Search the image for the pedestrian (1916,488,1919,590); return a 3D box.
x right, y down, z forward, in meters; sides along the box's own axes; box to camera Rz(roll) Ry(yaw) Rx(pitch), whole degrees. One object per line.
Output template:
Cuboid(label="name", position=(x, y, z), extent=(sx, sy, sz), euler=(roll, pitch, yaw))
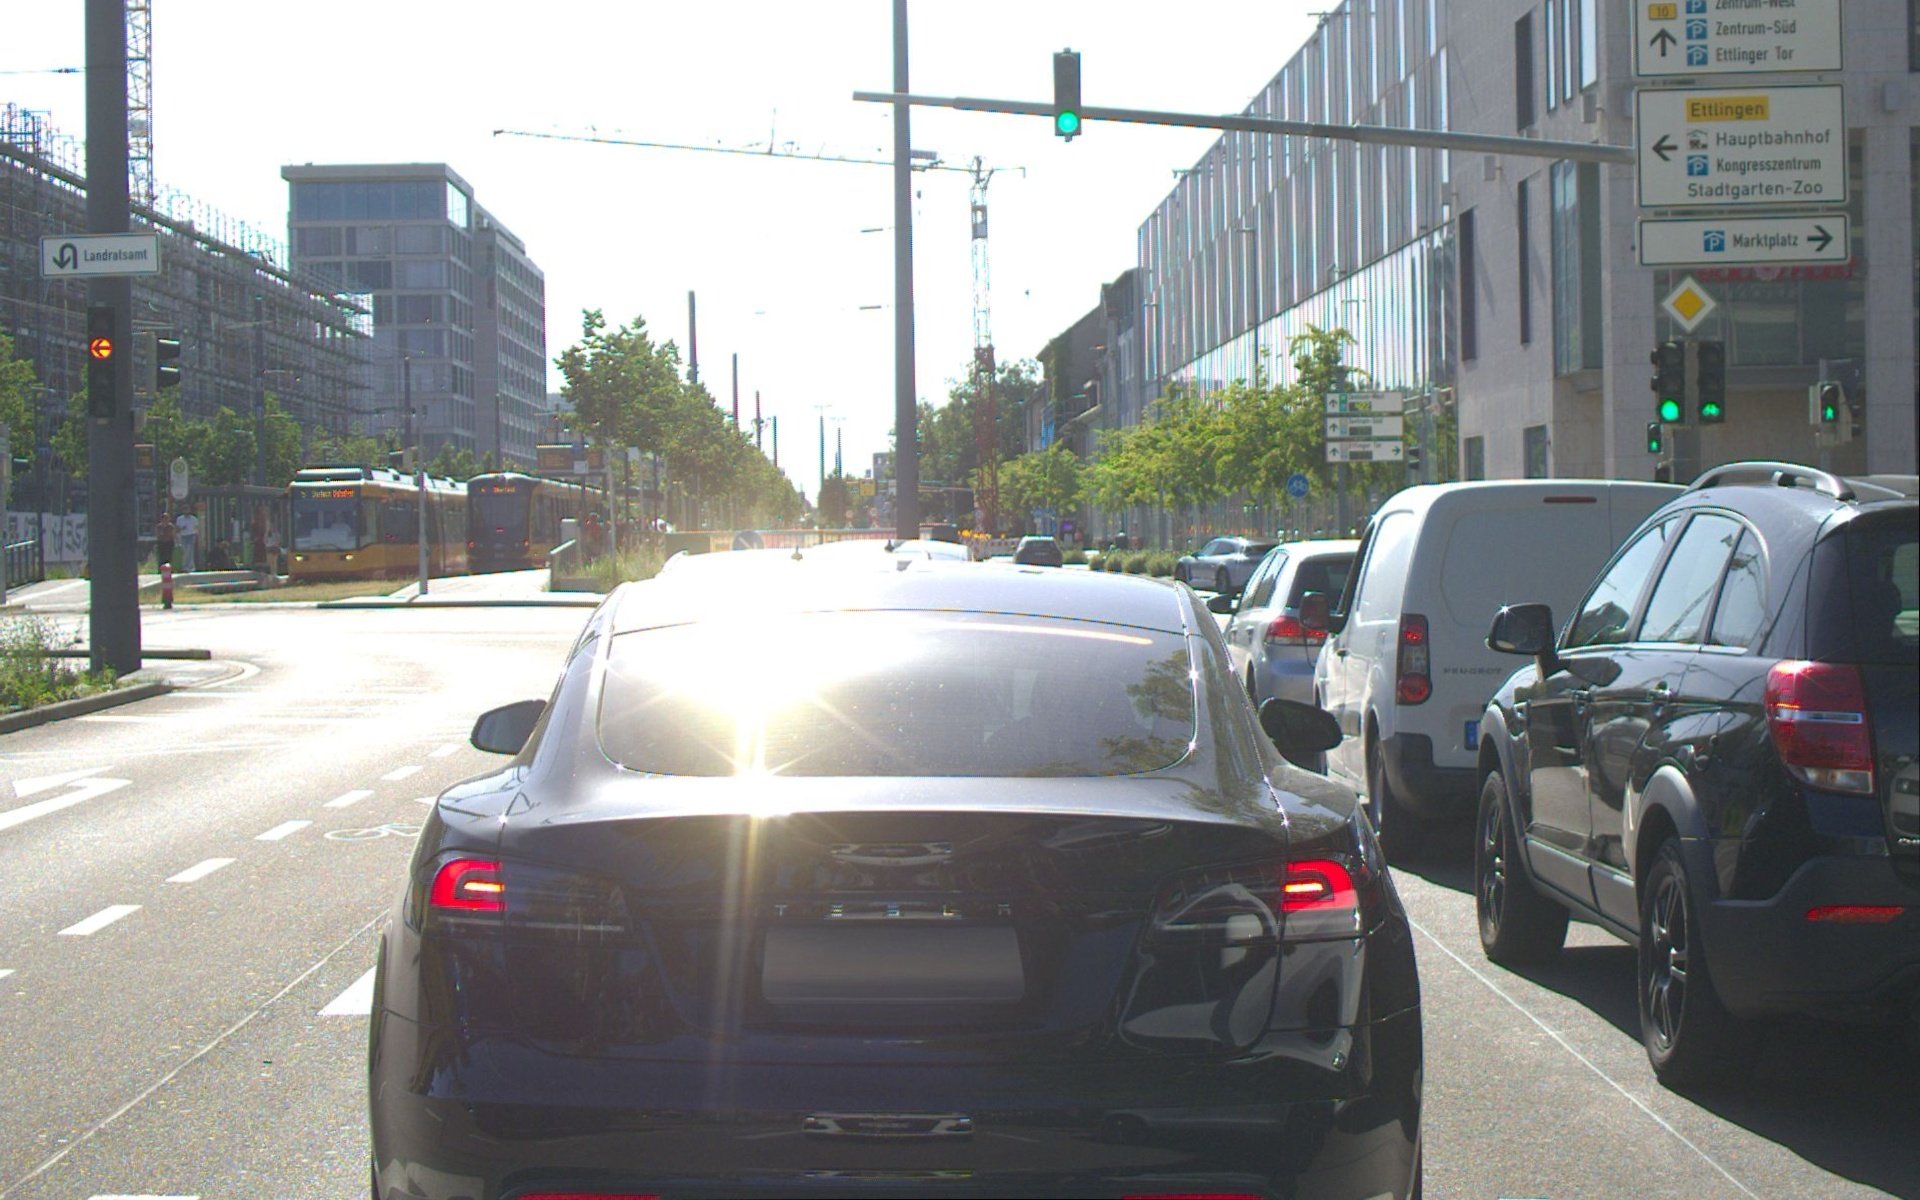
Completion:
Cuboid(label="pedestrian", position=(13.756, -0.849, 48.178), extent=(0.562, 1.435, 0.631), euler=(1, 0, 6))

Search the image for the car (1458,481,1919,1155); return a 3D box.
Cuboid(label="car", position=(2.736, 0.474, 10.510), extent=(1.721, 1.647, 4.187), euler=(0, 1, -1))

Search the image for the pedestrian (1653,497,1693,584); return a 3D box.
Cuboid(label="pedestrian", position=(11.933, -0.987, 57.545), extent=(0.562, 1.435, 0.631), euler=(1, 0, 6))

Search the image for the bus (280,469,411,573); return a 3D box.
Cuboid(label="bus", position=(-17.459, -2.187, 98.109), extent=(2.627, 2.773, 8.846), euler=(1, 0, -4))

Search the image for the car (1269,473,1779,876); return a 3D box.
Cuboid(label="car", position=(2.708, 0.277, 17.414), extent=(1.721, 1.776, 4.187), euler=(-1, 1, -2))

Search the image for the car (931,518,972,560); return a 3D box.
Cuboid(label="car", position=(-0.439, -3.049, 171.437), extent=(1.993, 2.007, 4.000), euler=(1, 0, -1))

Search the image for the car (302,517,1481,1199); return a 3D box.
Cuboid(label="car", position=(-0.166, 0.569, 7.610), extent=(1.912, 1.481, 4.010), euler=(0, 1, -2))

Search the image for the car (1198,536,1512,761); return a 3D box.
Cuboid(label="car", position=(2.728, 0.278, 24.543), extent=(1.721, 1.427, 4.187), euler=(0, 1, 0))

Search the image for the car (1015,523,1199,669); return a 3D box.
Cuboid(label="car", position=(1.496, -0.086, 36.275), extent=(1.721, 1.427, 4.187), euler=(0, 1, 0))

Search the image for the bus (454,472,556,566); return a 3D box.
Cuboid(label="bus", position=(-15.166, -2.640, 115.202), extent=(2.627, 2.949, 9.900), euler=(1, 0, -4))

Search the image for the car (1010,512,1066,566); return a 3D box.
Cuboid(label="car", position=(3.000, -2.348, 132.686), extent=(1.993, 2.007, 4.000), euler=(1, 0, -1))
